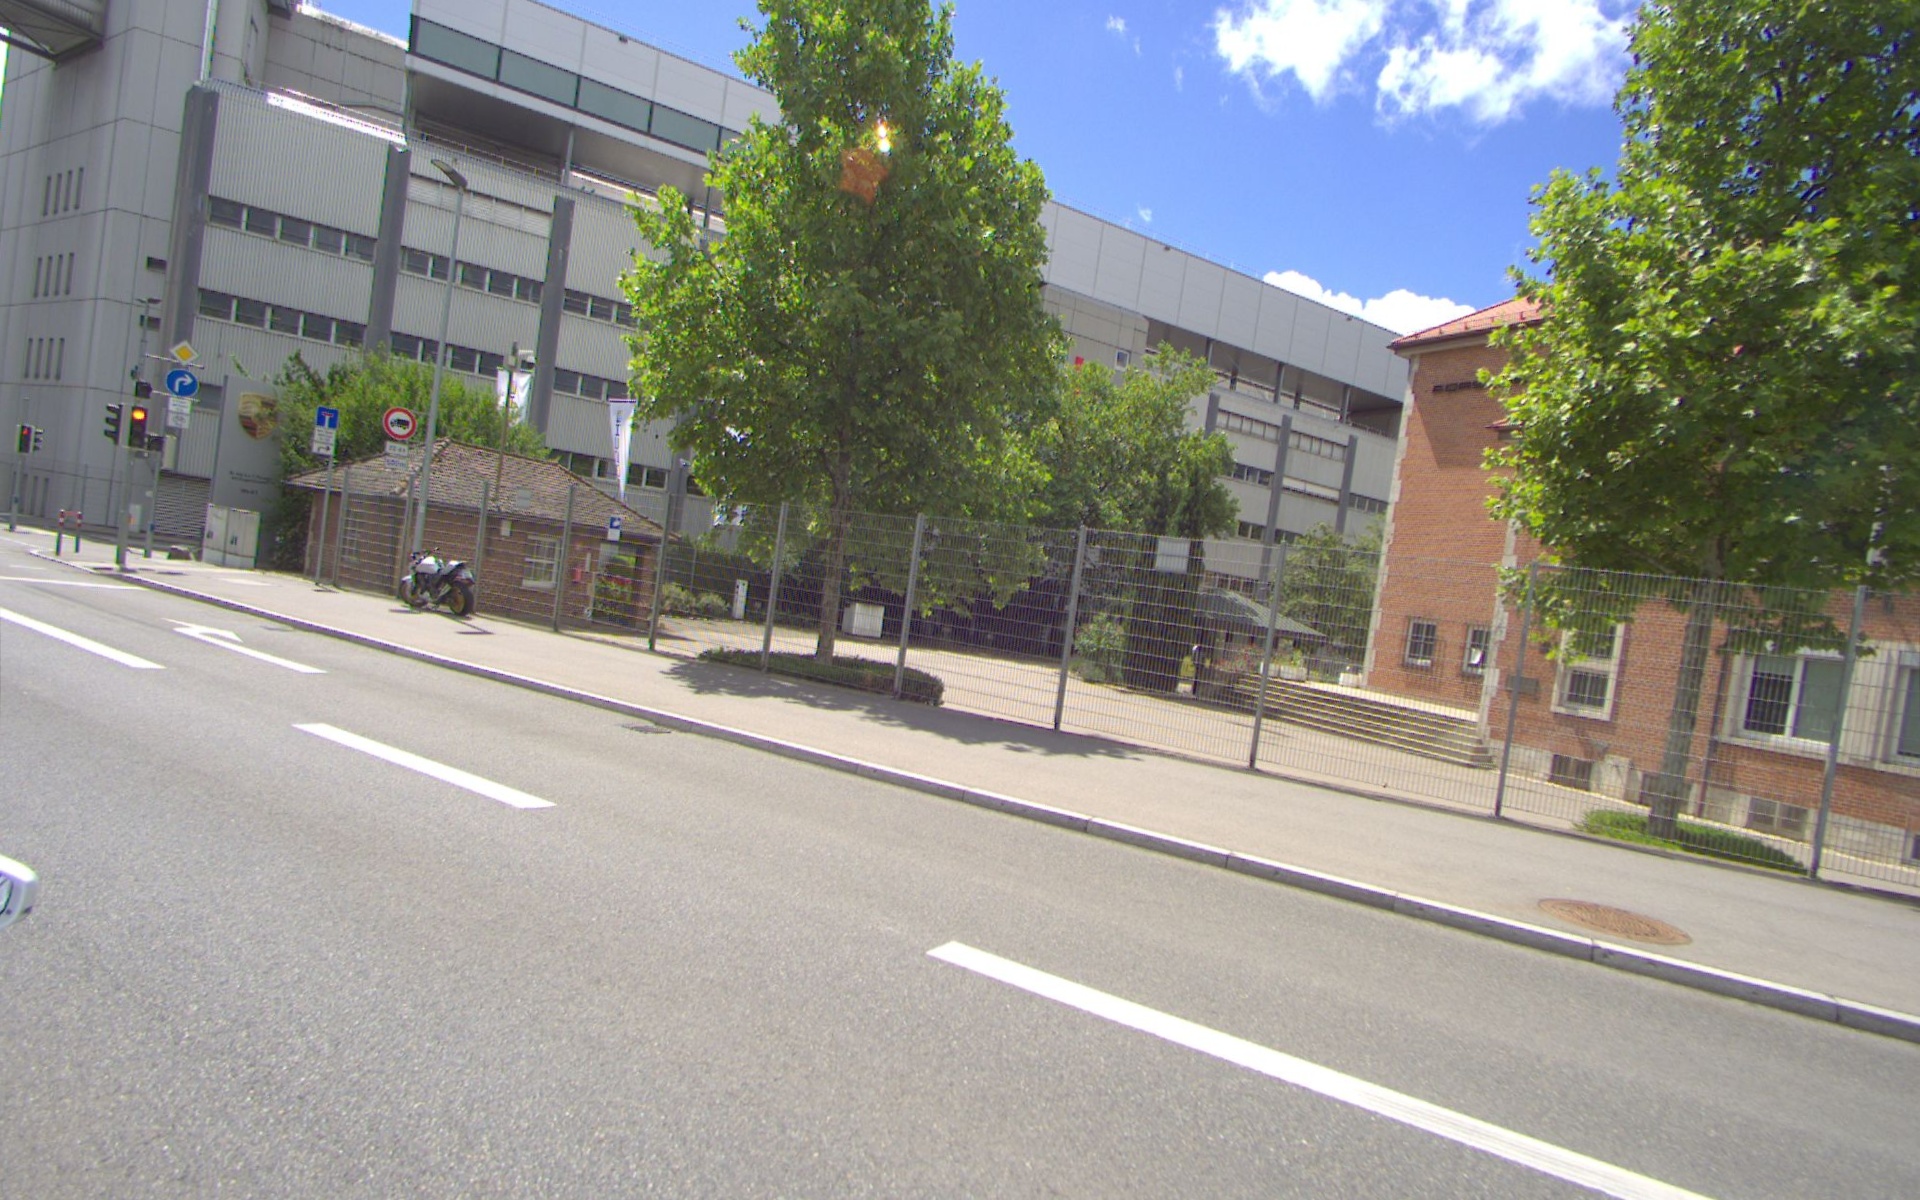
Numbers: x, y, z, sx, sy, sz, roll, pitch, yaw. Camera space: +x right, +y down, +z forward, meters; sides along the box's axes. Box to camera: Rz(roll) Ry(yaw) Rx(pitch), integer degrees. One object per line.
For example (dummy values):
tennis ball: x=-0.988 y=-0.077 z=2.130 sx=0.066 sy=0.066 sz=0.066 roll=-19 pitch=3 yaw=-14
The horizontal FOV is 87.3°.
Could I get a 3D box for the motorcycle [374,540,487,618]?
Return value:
motorcycle: x=-9.718 y=-0.387 z=18.432 sx=2.110 sy=1.173 sz=0.693 roll=7 pitch=2 yaw=28
